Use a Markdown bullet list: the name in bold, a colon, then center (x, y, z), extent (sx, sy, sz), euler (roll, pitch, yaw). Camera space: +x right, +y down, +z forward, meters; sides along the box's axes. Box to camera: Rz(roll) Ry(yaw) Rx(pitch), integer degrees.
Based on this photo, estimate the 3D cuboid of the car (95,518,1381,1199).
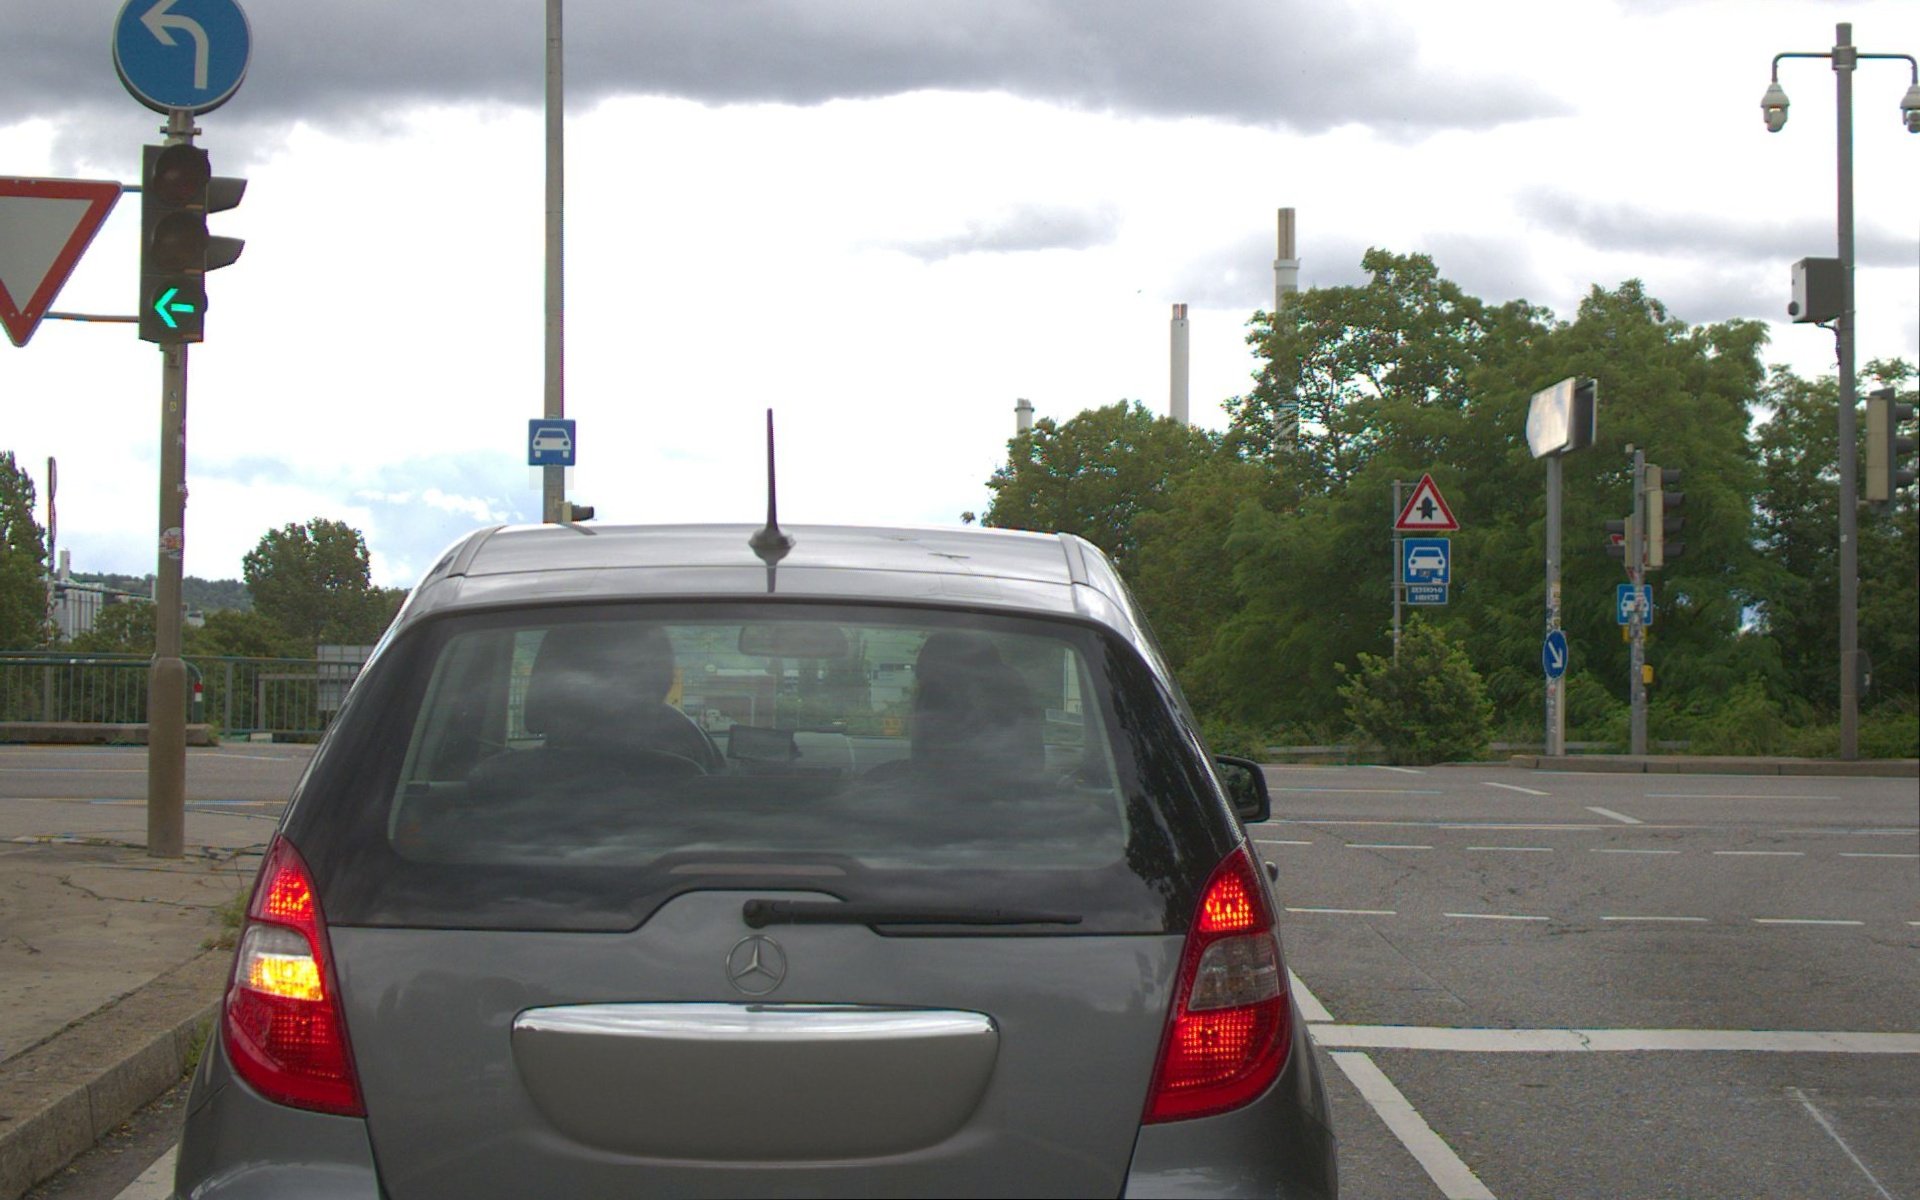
- **car**: center (-0.319, 0.652, 6.457), extent (1.739, 1.538, 3.541), euler (1, 1, 0)
